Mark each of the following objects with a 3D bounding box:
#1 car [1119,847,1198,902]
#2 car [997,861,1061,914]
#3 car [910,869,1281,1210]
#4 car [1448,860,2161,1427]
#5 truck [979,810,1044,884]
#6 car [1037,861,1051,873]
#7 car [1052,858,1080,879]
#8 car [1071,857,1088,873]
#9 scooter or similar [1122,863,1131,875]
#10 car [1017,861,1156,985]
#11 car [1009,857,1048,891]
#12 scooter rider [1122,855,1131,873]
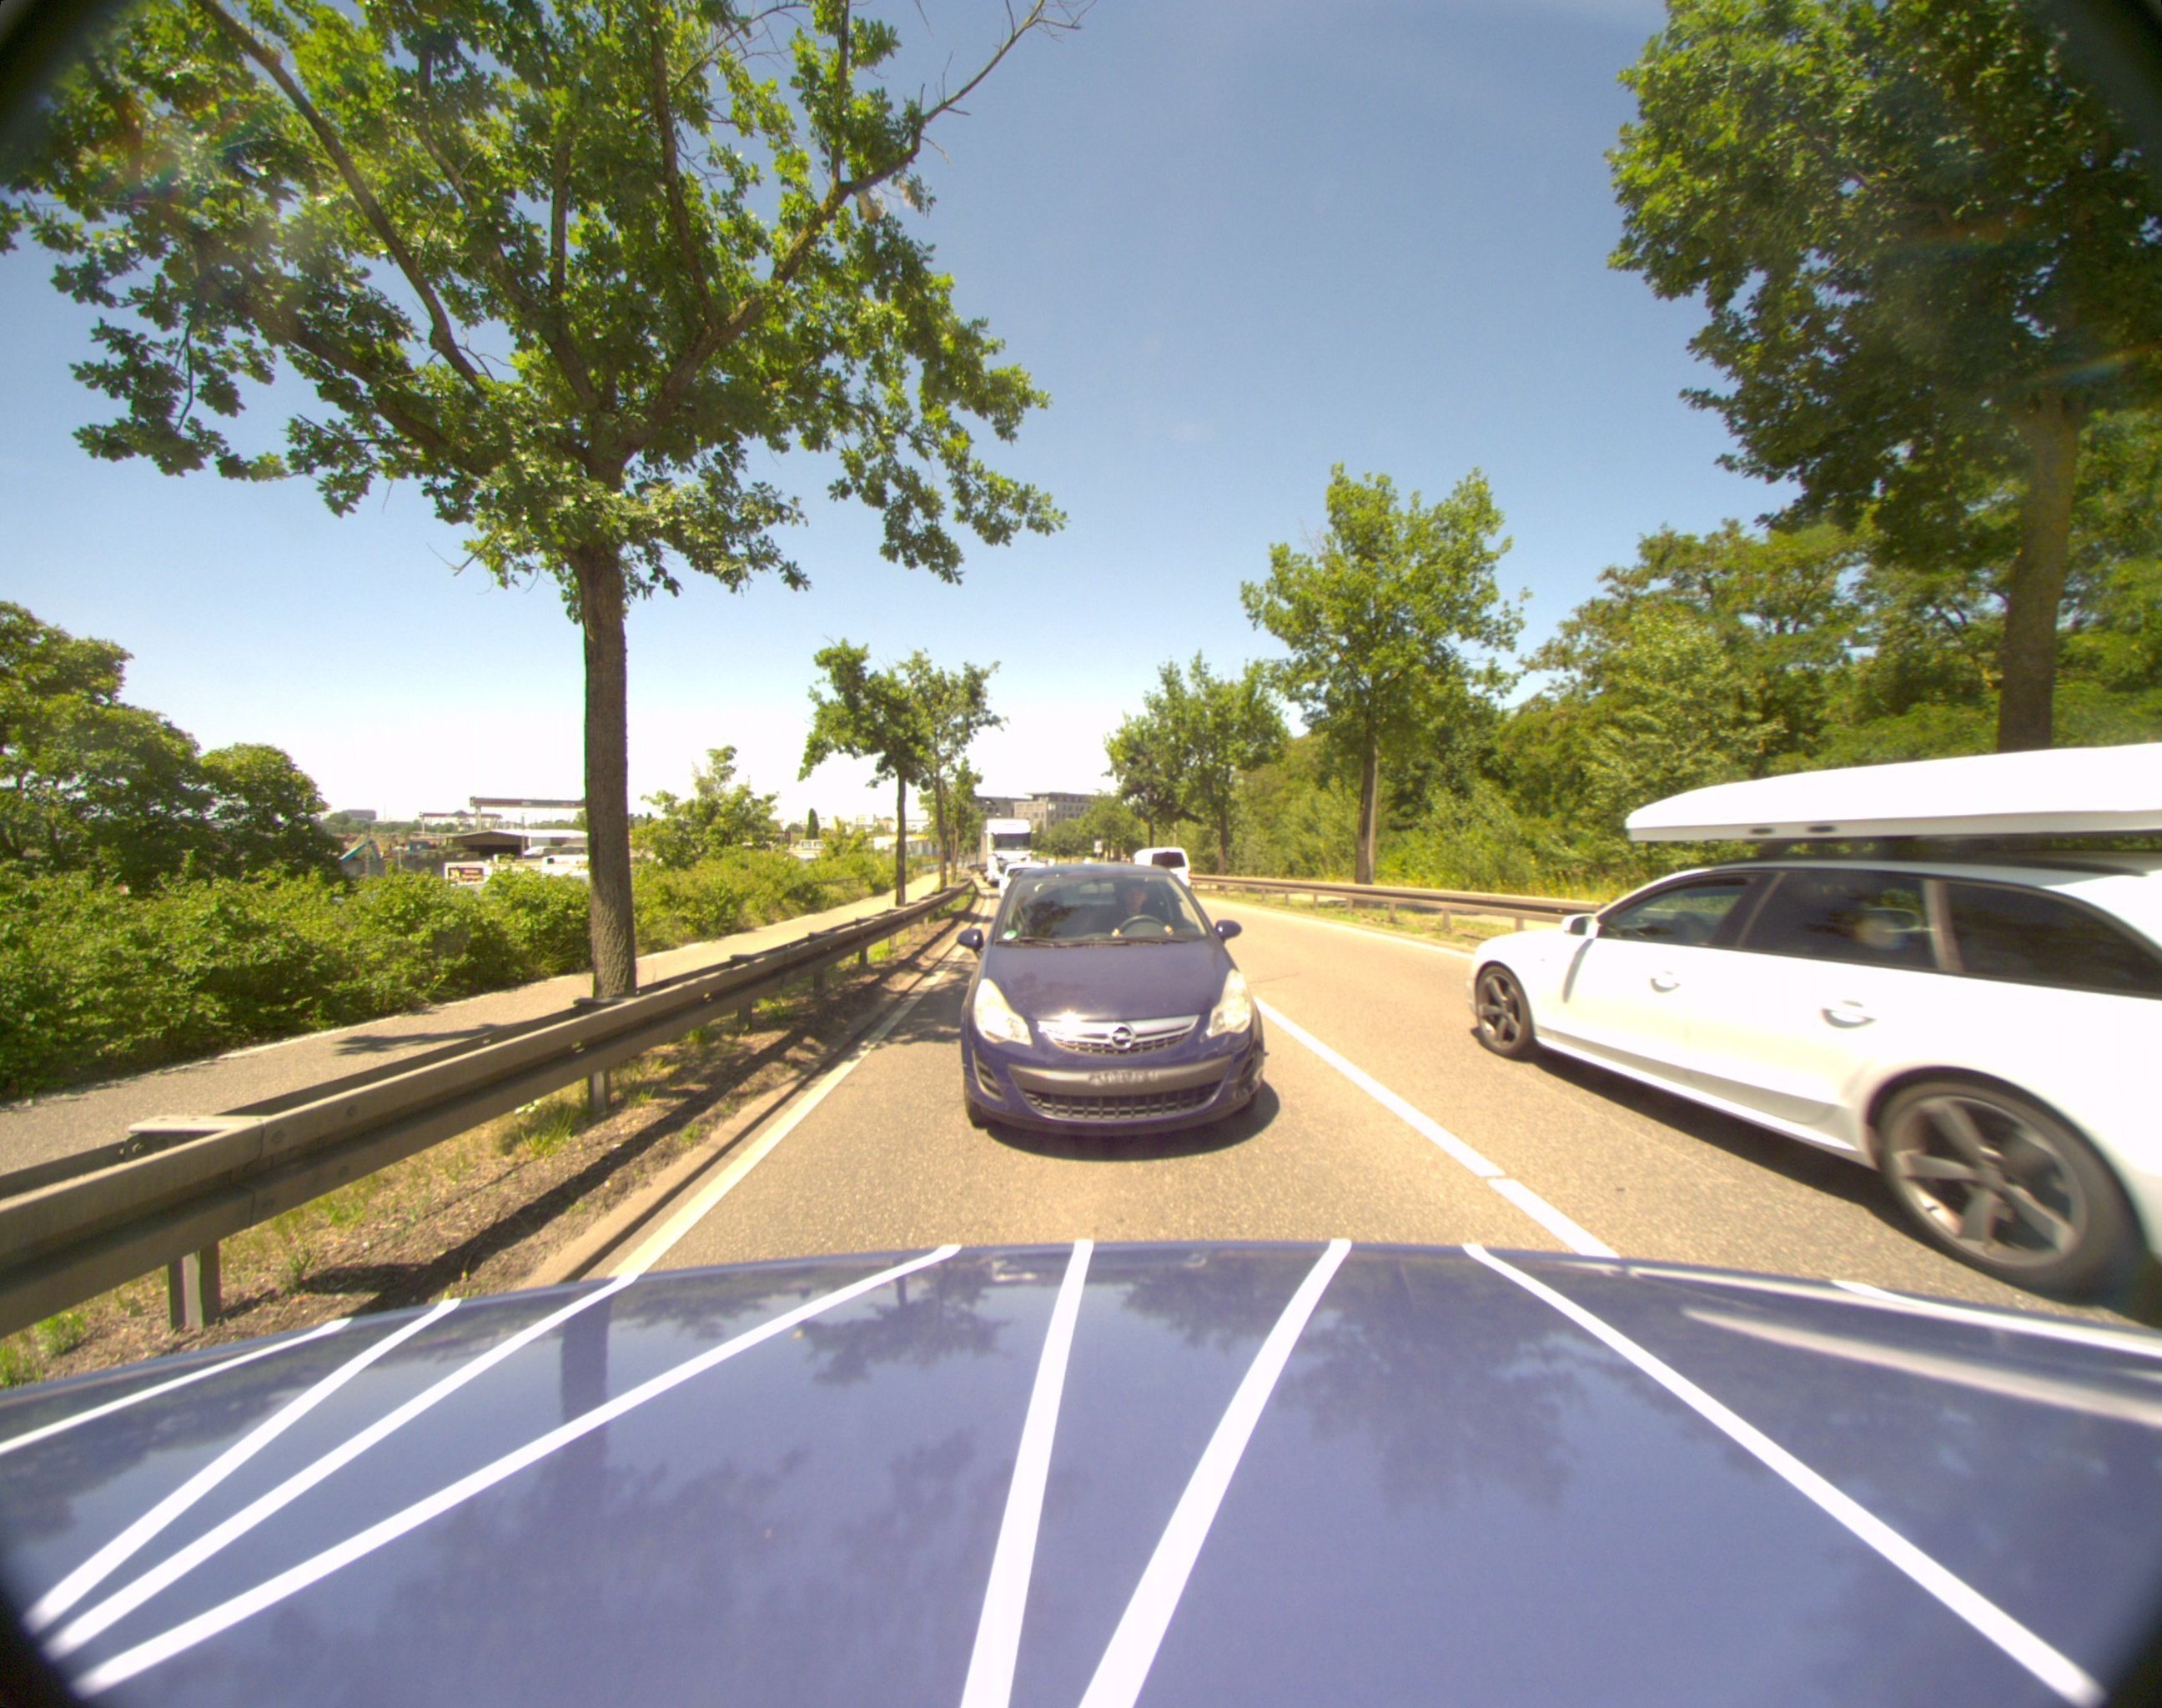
[{"bbox_3d":[2.724,0.685,27.691,1.751,1.753,4.385,-2,0,-9],"label":"car"},{"bbox_3d":[-1.624,0.986,23.826,1.781,1.398,3.998,-2,0,-4],"label":"car"},{"bbox_3d":[0.028,0.920,5.541,1.720,1.455,3.837,-2,0,-2],"label":"car"},{"bbox_3d":[3.766,0.796,3.569,1.824,1.413,4.465,-2,0,-1],"label":"car"},{"bbox_3d":[-5.115,-0.402,52.095,3.073,4.146,16.896,-2,0,-9],"label":"truck"},{"bbox_3d":[-7.064,2.498,145.056,1.779,2.002,4.002,-2,0,9],"label":"car"},{"bbox_3d":[-1.095,1.039,54.389,1.561,1.364,3.886,-2,0,-7],"label":"car"},{"bbox_3d":[-0.167,1.170,82.924,1.754,1.546,4.126,-2,0,1],"label":"car"},{"bbox_3d":[4.308,1.390,72.146,0.779,1.085,1.095,-2,1,0],"label":"scooter or similar"},{"bbox_3d":[0.066,0.921,11.917,1.780,1.498,3.896,-2,0,0],"label":"car"},{"bbox_3d":[-2.764,0.988,39.050,1.781,1.569,3.997,-2,0,-6],"label":"car"},{"bbox_3d":[4.291,0.955,72.127,0.779,1.648,1.120,-2,1,0],"label":"scooter rider"}]
